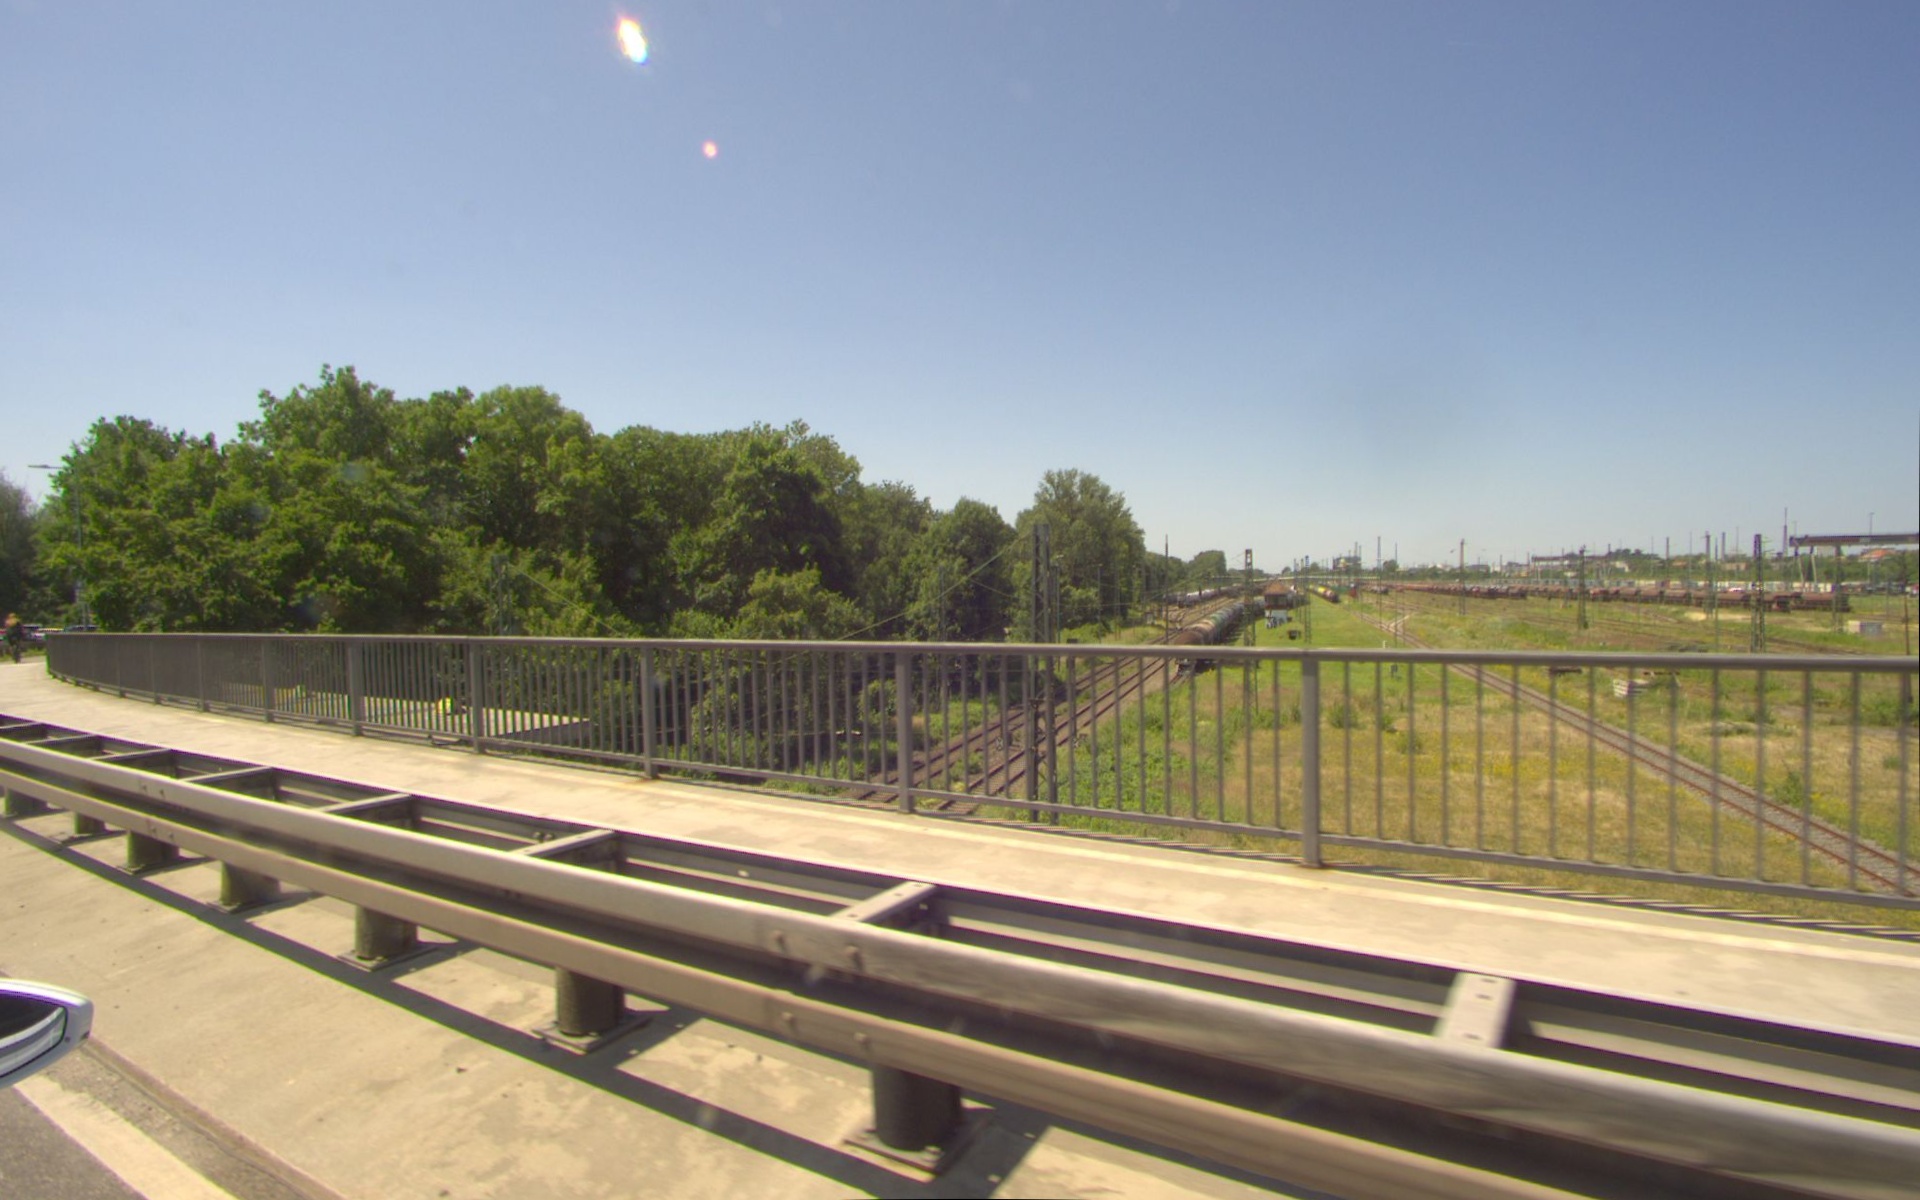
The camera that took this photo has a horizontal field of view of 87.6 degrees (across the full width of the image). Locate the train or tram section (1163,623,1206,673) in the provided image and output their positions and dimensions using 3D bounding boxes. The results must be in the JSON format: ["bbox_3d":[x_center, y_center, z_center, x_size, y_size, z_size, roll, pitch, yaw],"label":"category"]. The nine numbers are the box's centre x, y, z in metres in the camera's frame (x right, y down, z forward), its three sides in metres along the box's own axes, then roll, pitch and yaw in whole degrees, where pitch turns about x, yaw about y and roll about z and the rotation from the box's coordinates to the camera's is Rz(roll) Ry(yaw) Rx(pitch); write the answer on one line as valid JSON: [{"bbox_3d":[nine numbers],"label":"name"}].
[{"bbox_3d":[24.454,5.016,108.515,3.782,4.366,13.608,-2,1,16],"label":"train or tram section"}]

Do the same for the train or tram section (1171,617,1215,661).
[{"bbox_3d":[28.437,4.643,121.569,3.784,4.366,13.600,-2,1,19],"label":"train or tram section"}]

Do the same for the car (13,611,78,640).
[{"bbox_3d":[-54.953,1.584,60.244,1.971,1.594,3.983,2,-4,-29],"label":"car"}]

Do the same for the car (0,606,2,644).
[{"bbox_3d":[-47.648,1.228,48.209,1.705,1.868,3.971,1,-1,-36],"label":"car"}]

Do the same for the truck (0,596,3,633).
[{"bbox_3d":[-78.679,1.139,78.582,5.829,2.911,2.341,0,0,12],"label":"truck"}]

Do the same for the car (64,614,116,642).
[{"bbox_3d":[-57.606,1.860,66.362,1.665,1.783,3.984,0,-2,-27],"label":"car"}]

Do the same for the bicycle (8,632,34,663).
[{"bbox_3d":[-34.265,1.718,36.528,1.469,1.049,0.578,-1,2,44],"label":"bicycle"}]

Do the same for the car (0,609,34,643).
[{"bbox_3d":[-51.603,1.420,54.025,1.668,1.783,3.978,0,-2,-32],"label":"car"}]

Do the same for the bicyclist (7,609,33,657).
[{"bbox_3d":[-34.262,1.191,36.503,0.721,1.706,0.574,0,2,44],"label":"bicyclist"}]
